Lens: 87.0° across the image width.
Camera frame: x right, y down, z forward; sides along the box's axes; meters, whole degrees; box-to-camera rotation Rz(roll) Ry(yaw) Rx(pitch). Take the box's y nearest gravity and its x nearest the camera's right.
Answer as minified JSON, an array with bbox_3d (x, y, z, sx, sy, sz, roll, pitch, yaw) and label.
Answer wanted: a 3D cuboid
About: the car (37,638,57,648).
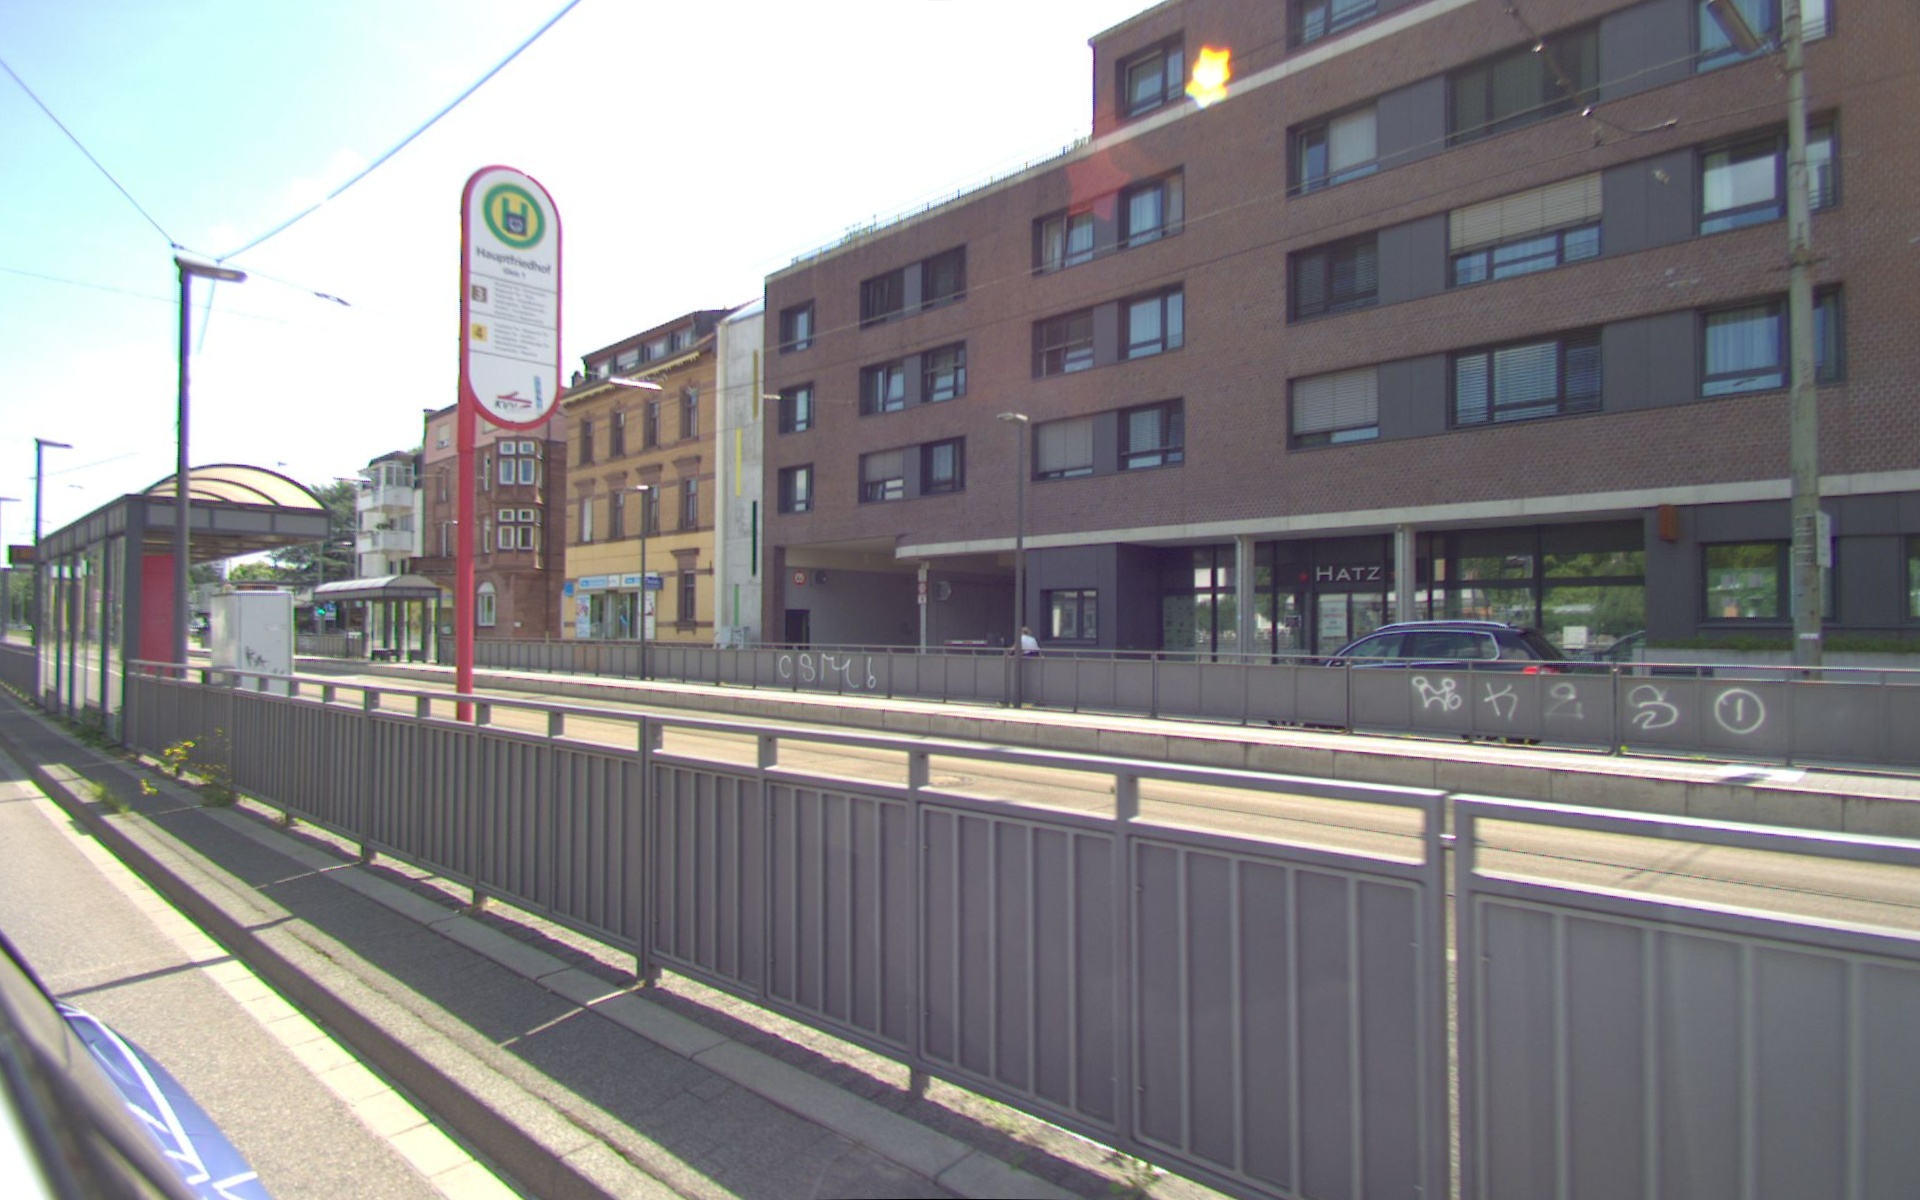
[{"bbox_3d":[-140.314,6.631,155.540,4.401,1.483,1.971,-2,-3,43],"label":"car"}]

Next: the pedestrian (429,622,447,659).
[{"bbox_3d":[-28.642,2.205,55.528,0.810,2.029,0.611,-2,-3,42],"label":"pedestrian"}]

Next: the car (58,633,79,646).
[{"bbox_3d":[-121.469,5.369,137.899,4.280,1.696,1.704,-3,-5,44],"label":"car"}]

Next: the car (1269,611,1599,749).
[{"bbox_3d":[6.459,1.021,13.977,3.771,1.640,1.817,-1,-4,41],"label":"car"}]

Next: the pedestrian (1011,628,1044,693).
[{"bbox_3d":[1.483,1.312,22.142,0.536,1.395,0.430,-1,-4,44],"label":"pedestrian"}]

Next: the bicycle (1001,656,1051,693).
[{"bbox_3d":[1.436,1.625,22.145,1.187,0.767,0.289,-1,-4,44],"label":"bicycle"}]

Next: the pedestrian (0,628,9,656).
[{"bbox_3d":[-53.726,2.337,56.703,0.570,1.568,0.786,4,-4,-43],"label":"pedestrian"}]

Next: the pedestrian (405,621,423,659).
[{"bbox_3d":[-29.500,2.143,54.680,0.684,2.029,0.669,-1,-1,42],"label":"pedestrian"}]
